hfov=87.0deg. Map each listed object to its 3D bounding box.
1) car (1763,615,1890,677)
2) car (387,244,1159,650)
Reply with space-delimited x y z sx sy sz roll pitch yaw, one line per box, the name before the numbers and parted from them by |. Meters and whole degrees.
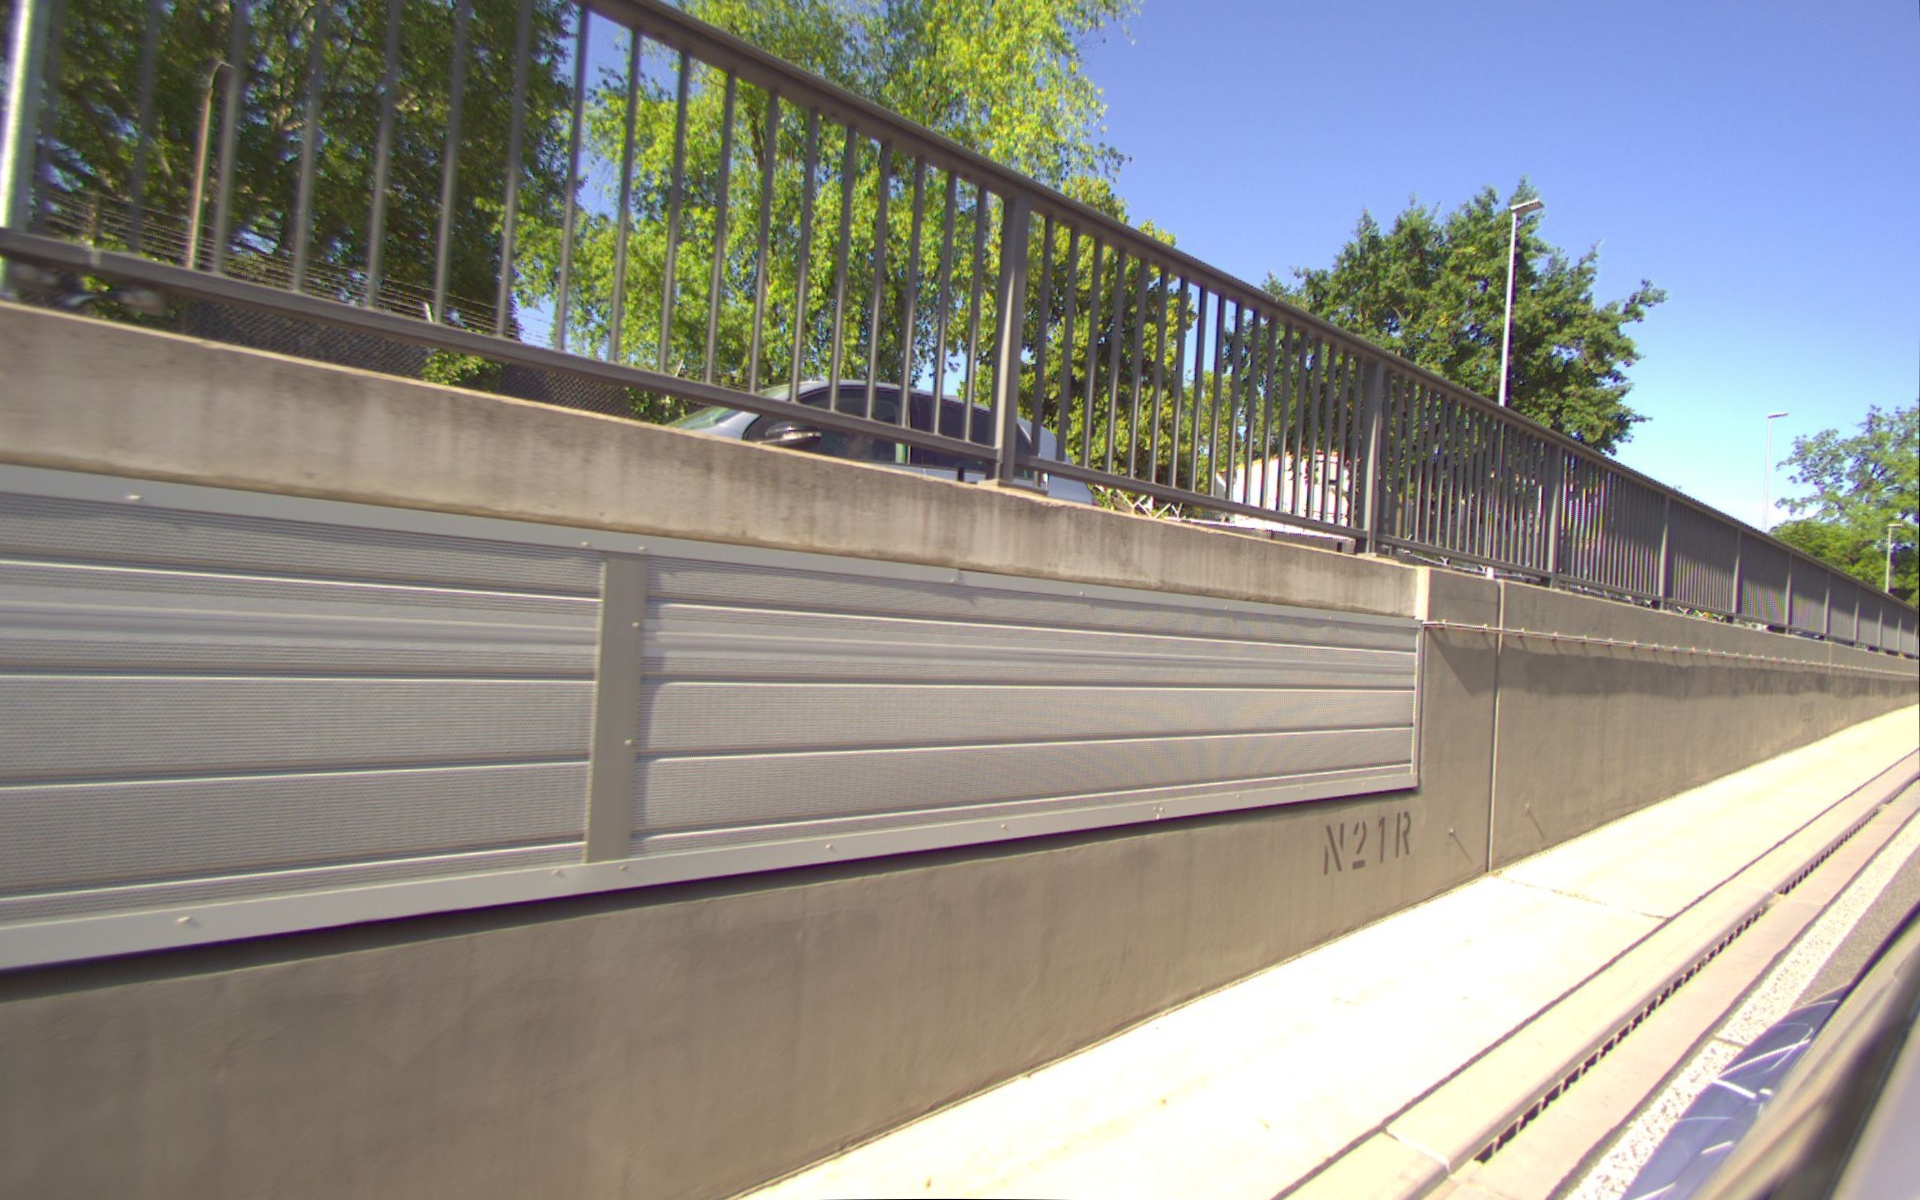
car | 22.742 1.231 26.513 4.221 1.419 1.837 4 -1 -40
car | -0.768 -0.506 5.634 3.904 1.454 1.669 3 -2 -42
